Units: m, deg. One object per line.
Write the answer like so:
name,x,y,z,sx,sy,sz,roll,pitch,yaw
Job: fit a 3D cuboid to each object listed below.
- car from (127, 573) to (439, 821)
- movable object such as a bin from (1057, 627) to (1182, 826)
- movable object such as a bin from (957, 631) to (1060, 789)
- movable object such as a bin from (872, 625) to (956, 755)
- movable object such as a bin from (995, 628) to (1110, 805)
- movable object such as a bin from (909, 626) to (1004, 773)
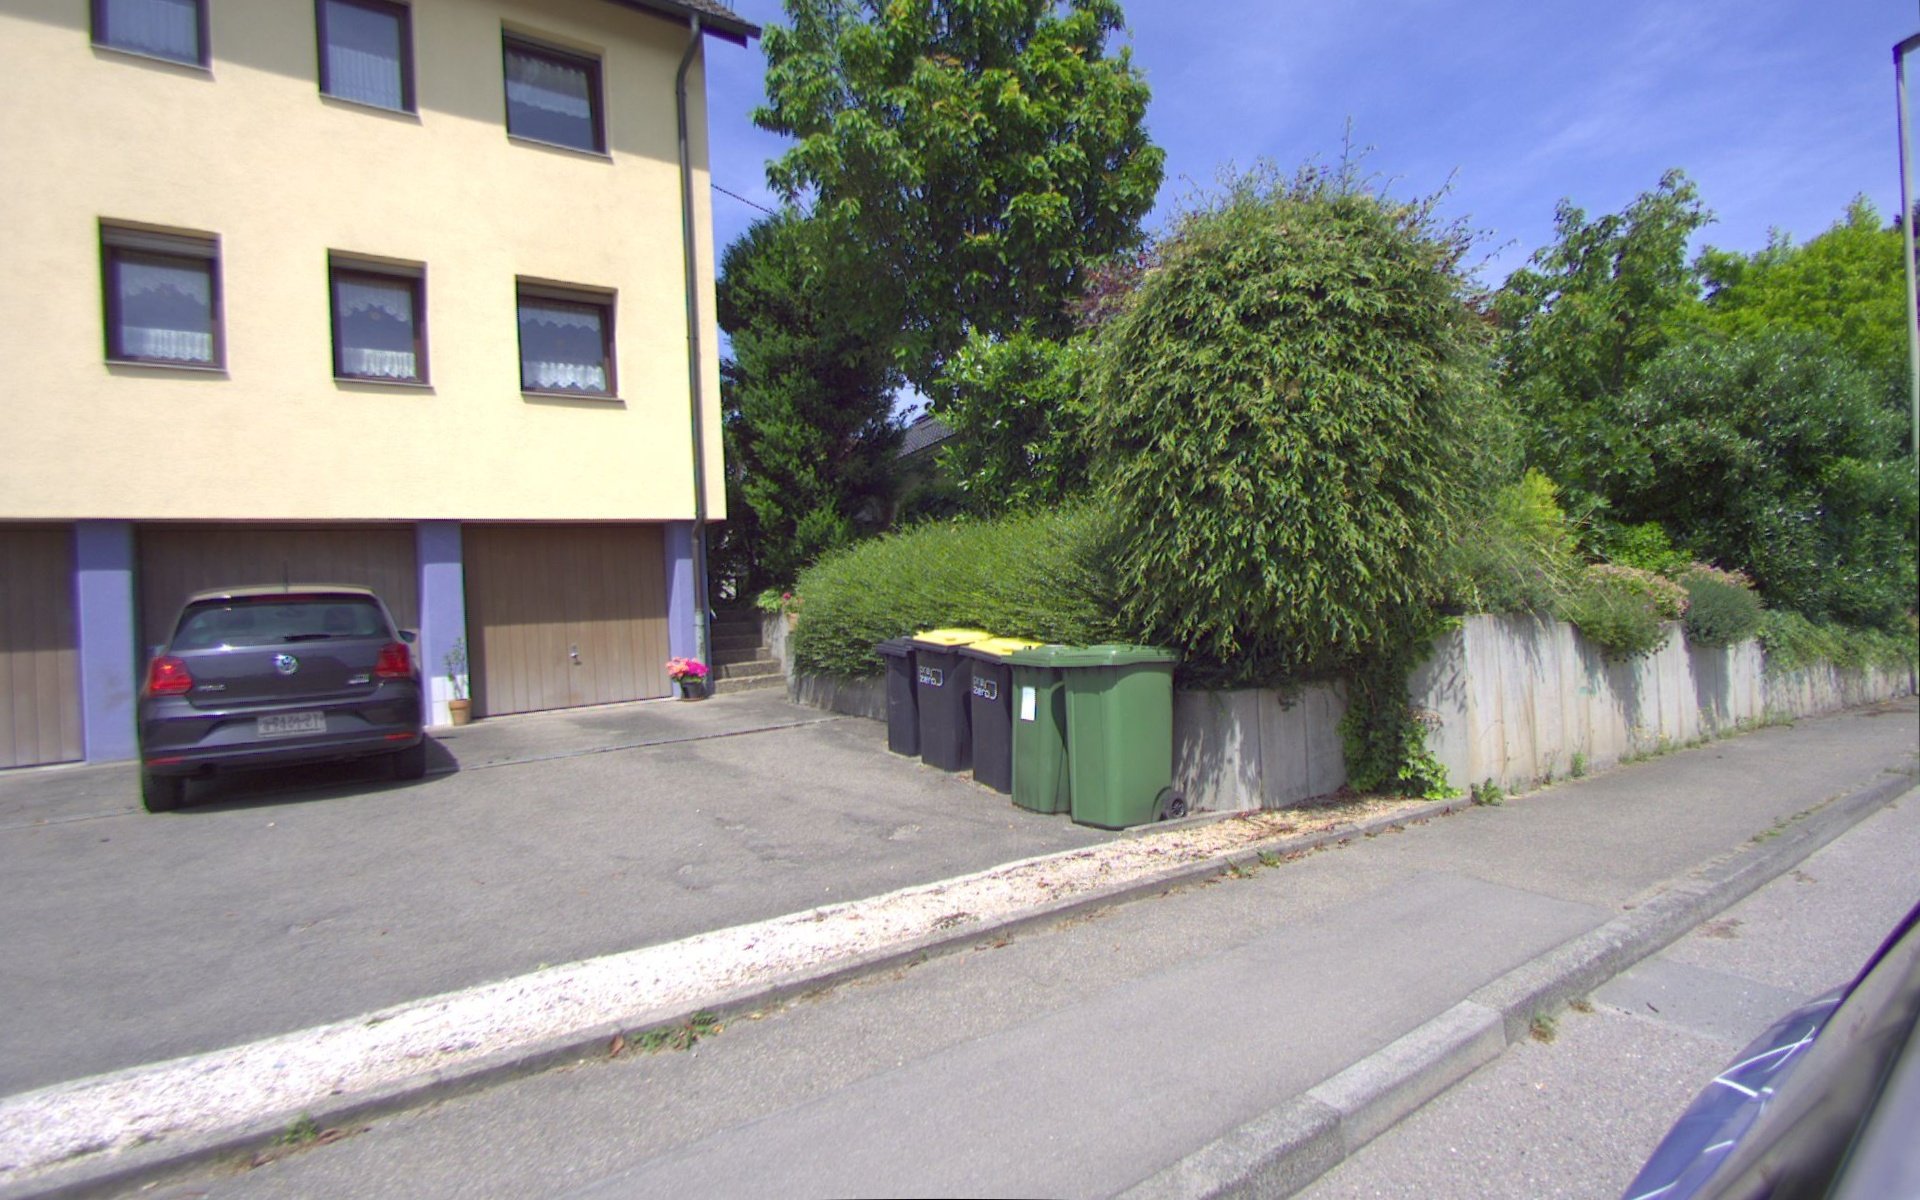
car,-5.193,0.601,7.989,1.612,1.436,3.694,-2,0,-32
movable object such as a bin,0.971,0.734,6.170,0.554,1.121,0.485,0,-1,-36
movable object such as a bin,0.343,0.756,7.208,0.553,1.034,0.486,0,1,-31
movable object such as a bin,-0.372,0.709,8.185,0.505,0.967,0.450,0,2,-34
movable object such as a bin,0.607,0.738,6.677,0.553,1.084,0.486,0,-1,-31
movable object such as a bin,-0.027,0.736,7.738,0.553,1.034,0.486,0,1,-31
